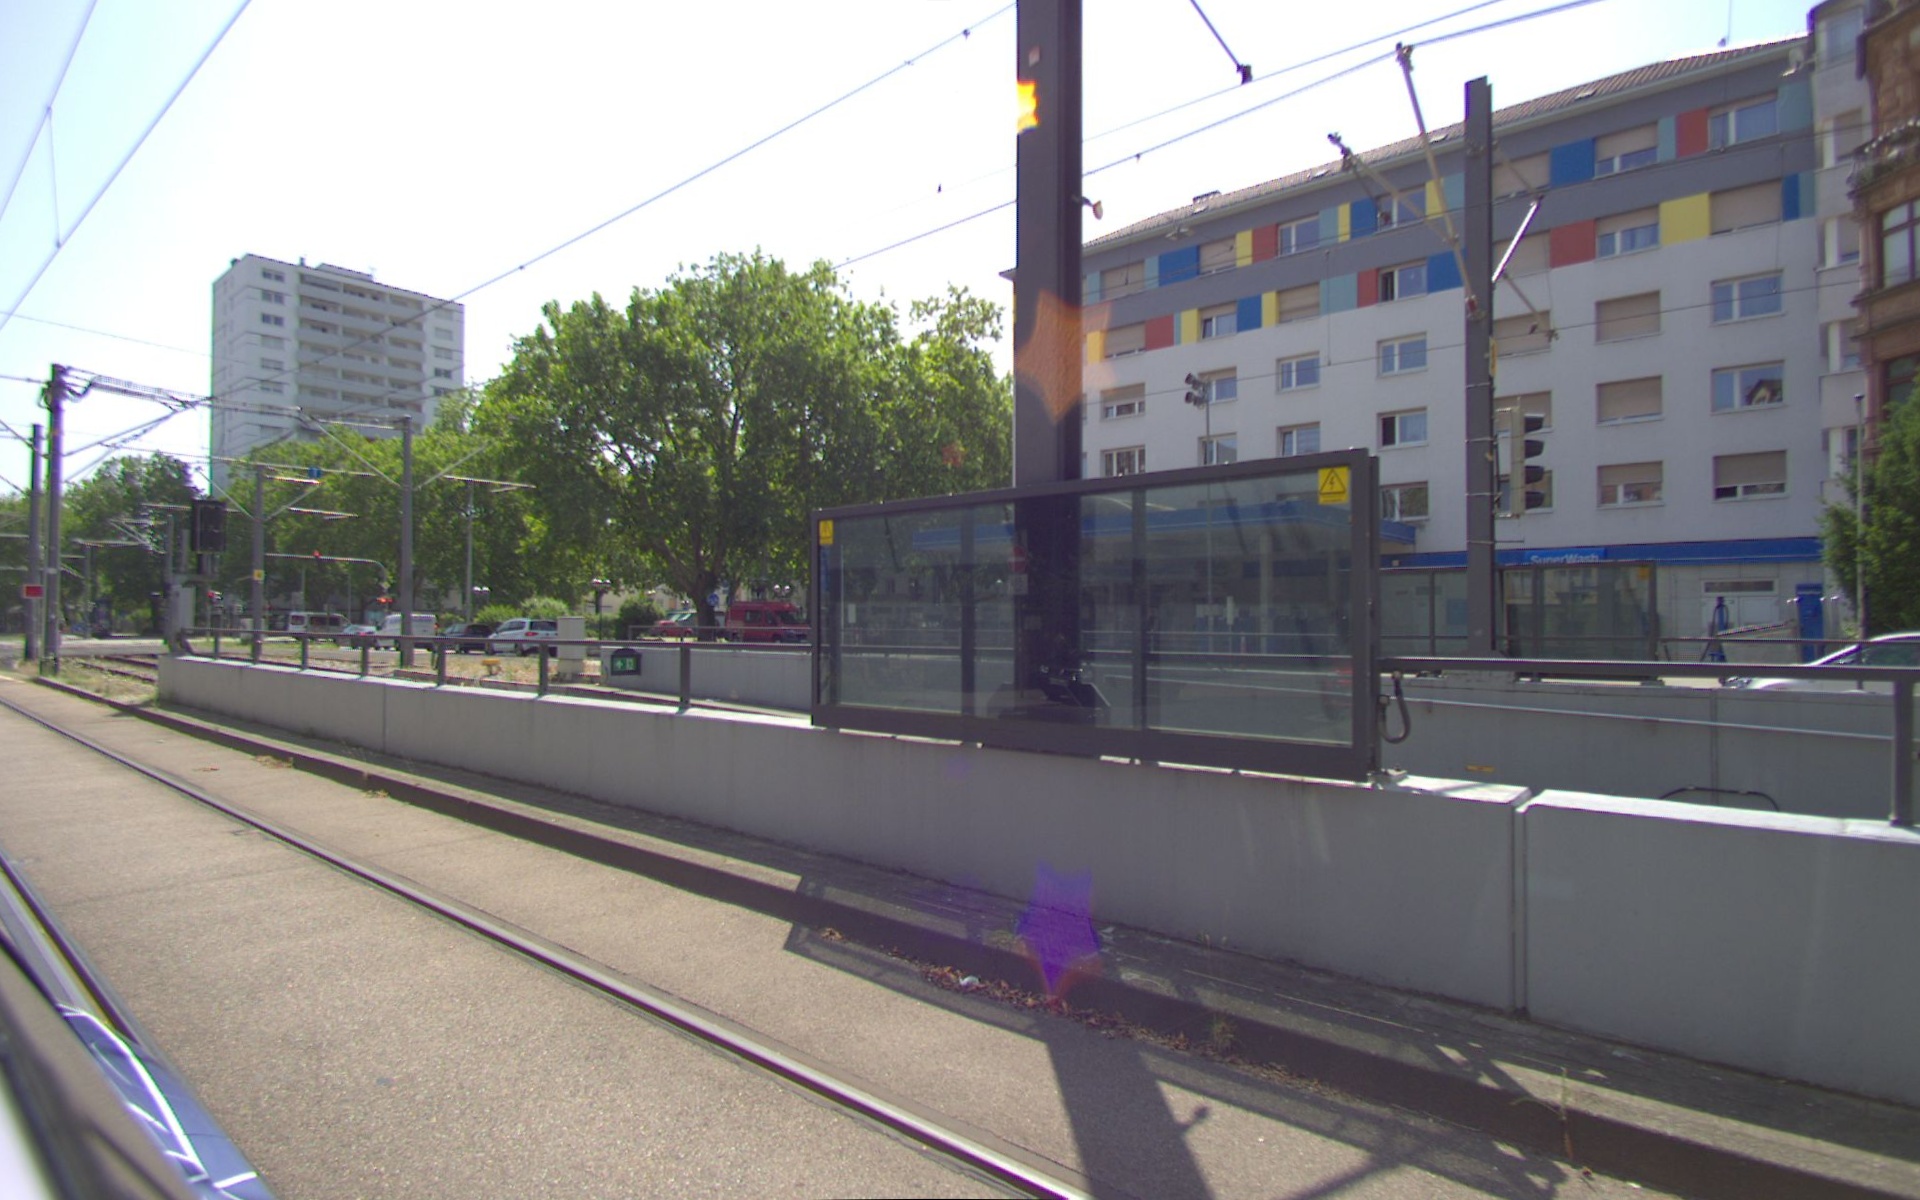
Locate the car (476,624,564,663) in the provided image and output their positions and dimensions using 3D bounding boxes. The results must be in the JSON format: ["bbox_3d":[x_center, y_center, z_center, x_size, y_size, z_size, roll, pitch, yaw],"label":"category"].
[{"bbox_3d":[-19.466,1.887,44.711,4.601,1.638,1.827,-2,-3,42],"label":"car"}]

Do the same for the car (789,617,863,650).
[{"bbox_3d":[-7.496,1.852,56.613,3.998,1.733,1.973,-1,-2,41],"label":"car"}]

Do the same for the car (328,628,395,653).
[{"bbox_3d":[-34.371,2.311,58.093,4.625,1.369,1.927,-2,-3,40],"label":"car"}]

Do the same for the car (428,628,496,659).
[{"bbox_3d":[-24.154,2.111,49.035,3.780,1.431,1.579,-2,-4,41],"label":"car"}]

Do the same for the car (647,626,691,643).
[{"bbox_3d":[-24.319,2.880,84.552,1.471,1.394,3.300,-2,-2,40],"label":"car"}]

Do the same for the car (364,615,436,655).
[{"bbox_3d":[-29.942,1.864,54.073,4.801,2.006,1.759,-2,-2,40],"label":"car"}]

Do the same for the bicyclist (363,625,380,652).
[{"bbox_3d":[-37.404,2.425,64.320,0.868,1.698,0.632,-2,-2,38],"label":"bicyclist"}]

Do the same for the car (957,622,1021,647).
[{"bbox_3d":[1.938,2.330,67.591,3.995,1.622,1.845,-2,-2,39],"label":"car"}]

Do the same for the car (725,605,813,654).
[{"bbox_3d":[-9.986,1.489,52.689,4.978,2.411,1.828,0,0,41],"label":"car"}]

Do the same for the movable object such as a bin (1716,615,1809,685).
[{"bbox_3d":[16.980,1.025,21.431,1.468,1.395,1.764,-1,-2,39],"label":"movable object such as a bin"}]

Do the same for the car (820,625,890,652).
[{"bbox_3d":[-6.132,2.224,58.952,3.998,1.538,1.843,-2,-2,41],"label":"car"}]

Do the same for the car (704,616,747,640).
[{"bbox_3d":[-21.550,2.553,92.932,3.998,2.099,1.973,-1,-2,41],"label":"car"}]

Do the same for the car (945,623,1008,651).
[{"bbox_3d":[1.042,2.375,65.543,3.998,1.719,1.582,-1,-2,41],"label":"car"}]

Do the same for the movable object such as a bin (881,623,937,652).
[{"bbox_3d":[-3.003,2.196,59.774,1.985,1.623,2.689,-1,-2,41],"label":"movable object such as a bin"}]

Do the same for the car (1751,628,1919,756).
[{"bbox_3d":[12.662,1.149,12.875,1.526,1.573,3.882,1,-2,-43],"label":"car"}]

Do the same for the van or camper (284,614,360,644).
[{"bbox_3d":[-55.810,2.570,88.641,2.053,2.480,5.875,-1,-2,14],"label":"van or camper"}]

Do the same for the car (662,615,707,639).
[{"bbox_3d":[-24.338,2.375,89.242,3.998,2.099,1.973,-1,-2,41],"label":"car"}]

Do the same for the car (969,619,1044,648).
[{"bbox_3d":[3.279,2.380,71.978,5.098,2.006,1.899,-2,-2,36],"label":"car"}]
